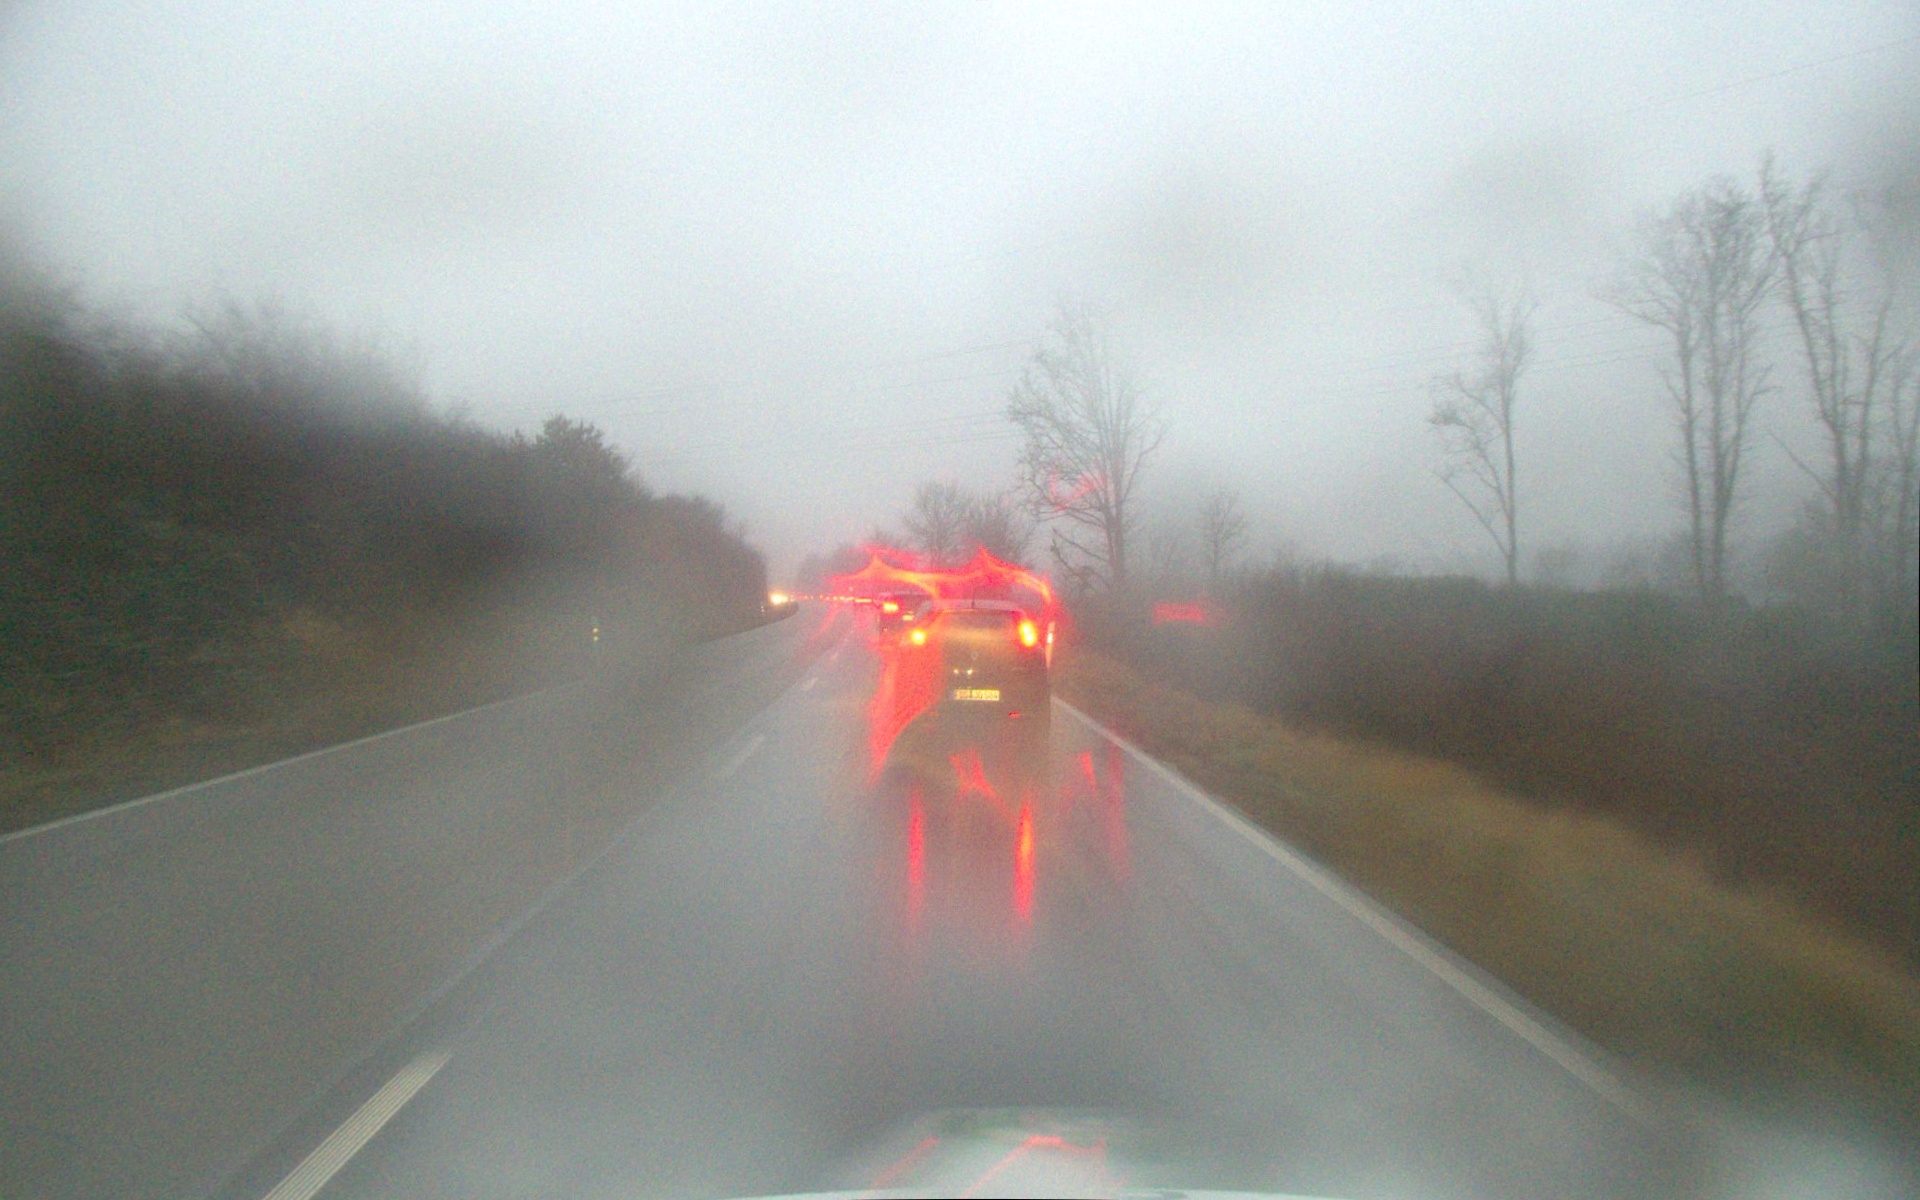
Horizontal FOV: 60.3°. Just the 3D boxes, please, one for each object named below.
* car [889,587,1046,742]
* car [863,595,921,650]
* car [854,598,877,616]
[{"bbox_3d":[0.127,0.645,18.693,1.569,1.548,3.870,1,0,1],"label":"car"},{"bbox_3d":[-1.856,0.598,46.111,1.515,1.421,3.868,1,0,-1],"label":"car"},{"bbox_3d":[-7.939,0.581,138.544,1.514,1.421,3.871,1,0,3],"label":"car"}]
